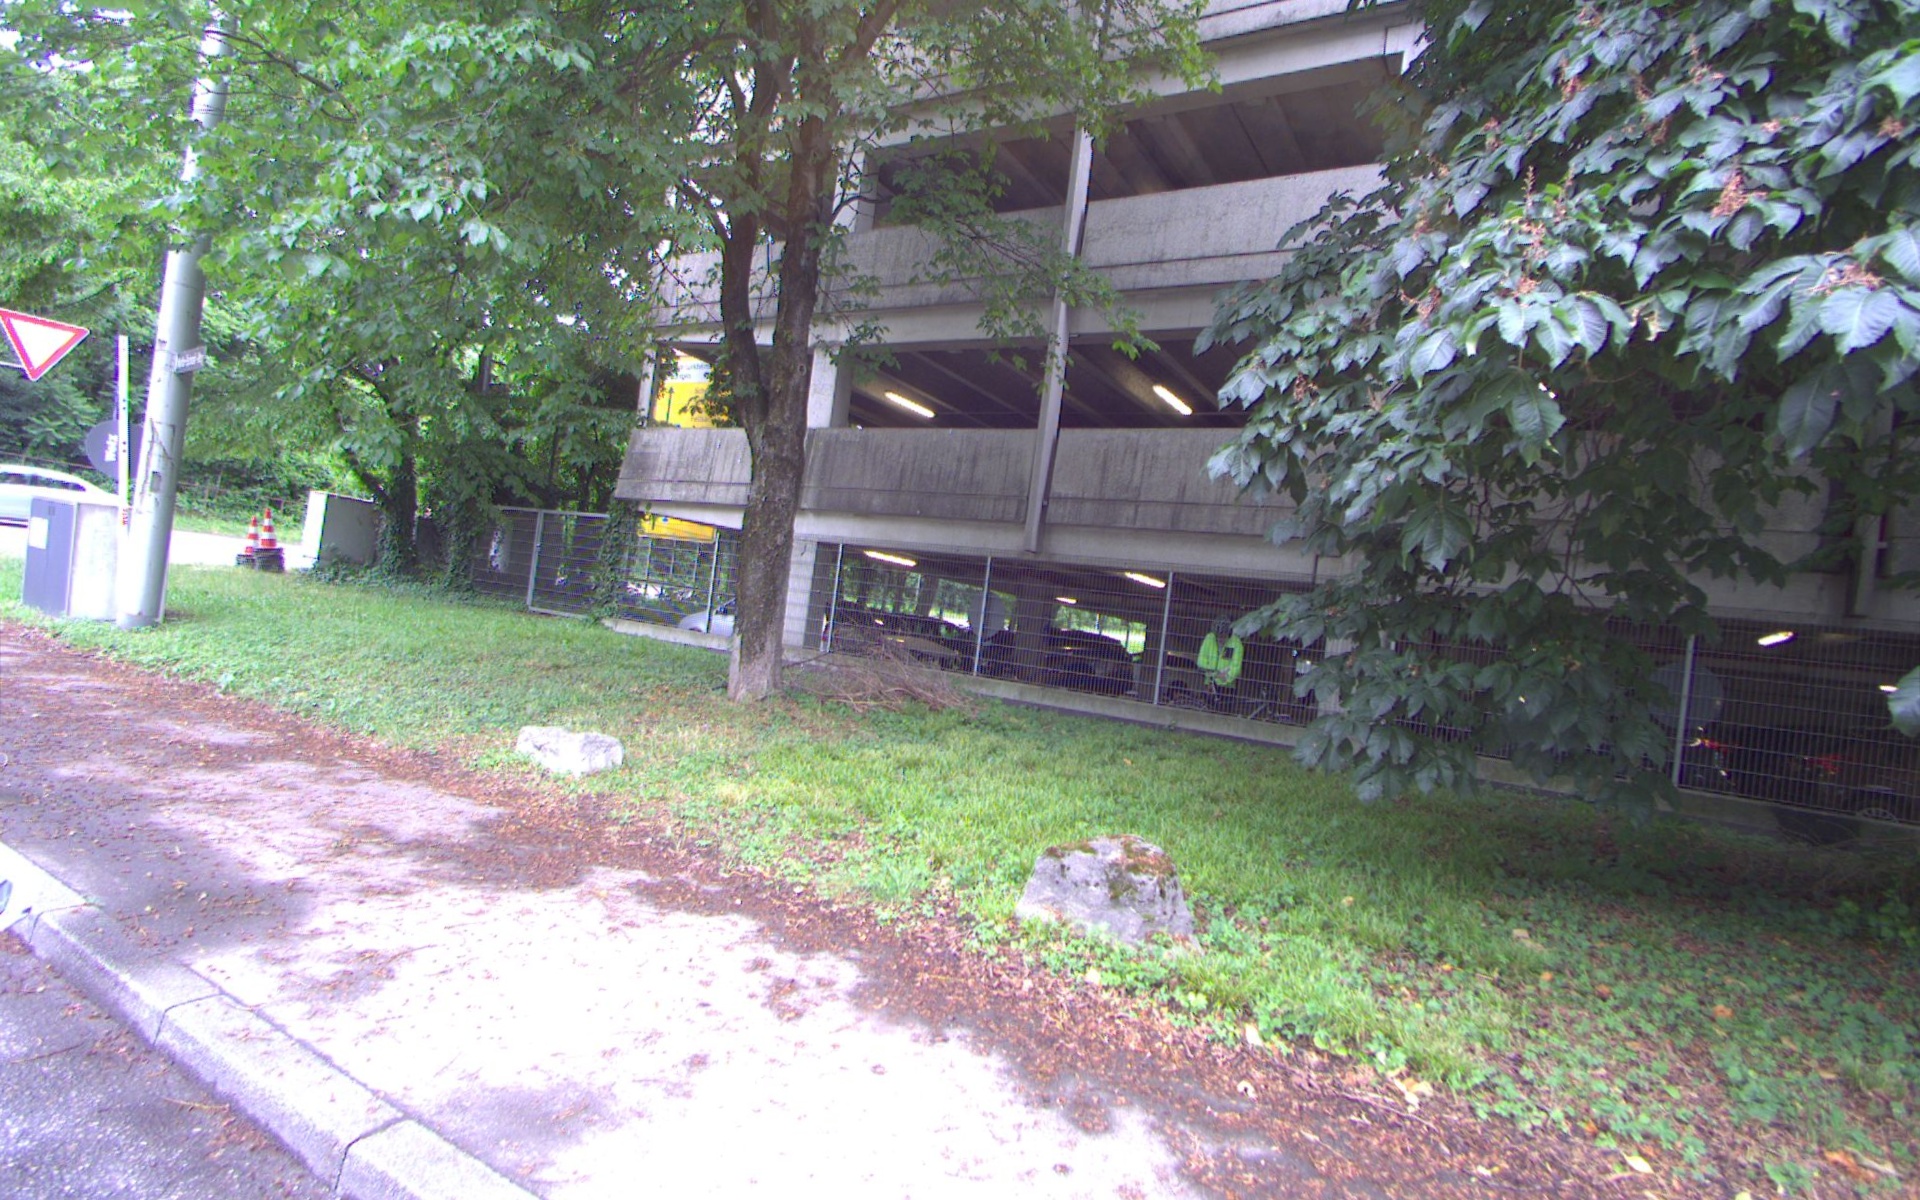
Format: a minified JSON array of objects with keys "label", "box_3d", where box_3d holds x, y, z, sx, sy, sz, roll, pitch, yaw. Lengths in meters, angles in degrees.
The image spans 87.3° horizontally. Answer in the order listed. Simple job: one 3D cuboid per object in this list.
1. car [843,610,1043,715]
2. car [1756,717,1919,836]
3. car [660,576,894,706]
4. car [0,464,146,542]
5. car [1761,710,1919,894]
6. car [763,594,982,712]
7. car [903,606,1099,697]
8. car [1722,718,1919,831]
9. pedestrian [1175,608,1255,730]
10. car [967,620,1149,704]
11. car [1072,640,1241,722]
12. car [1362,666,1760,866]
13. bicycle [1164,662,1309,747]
[{"label":"car","box_3d":[-0.371,1.287,20.880,3.658,1.682,1.734,5,-3,32]},{"label":"car","box_3d":[15.612,2.996,16.516,3.640,1.625,1.721,5,-3,30]},{"label":"car","box_3d":[-3.111,0.664,16.898,3.658,1.727,1.484,5,-3,32]},{"label":"car","box_3d":[-22.674,-2.505,23.898,1.802,1.349,4.762,10,-1,30]},{"label":"car","box_3d":[12.672,2.660,12.468,3.935,2.036,1.997,5,-3,33]},{"label":"car","box_3d":[-1.665,0.979,18.824,3.707,1.727,1.584,5,-3,32]},{"label":"car","box_3d":[0.926,1.185,23.217,3.934,1.569,1.998,5,-3,32]},{"label":"car","box_3d":[16.602,3.248,18.651,3.640,1.625,1.721,5,-3,30]},{"label":"pedestrian","box_3d":[2.986,0.811,11.750,0.626,1.332,0.642,5,-3,31]},{"label":"car","box_3d":[2.442,1.535,25.155,3.934,1.569,1.998,5,-3,32]},{"label":"car","box_3d":[6.140,2.528,31.553,4.658,1.855,1.923,6,-3,33]},{"label":"car","box_3d":[8.622,2.296,14.836,4.597,2.036,1.998,5,-3,31]},{"label":"bicycle","box_3d":[3.121,1.171,11.379,1.469,0.744,0.448,6,-3,24]}]
